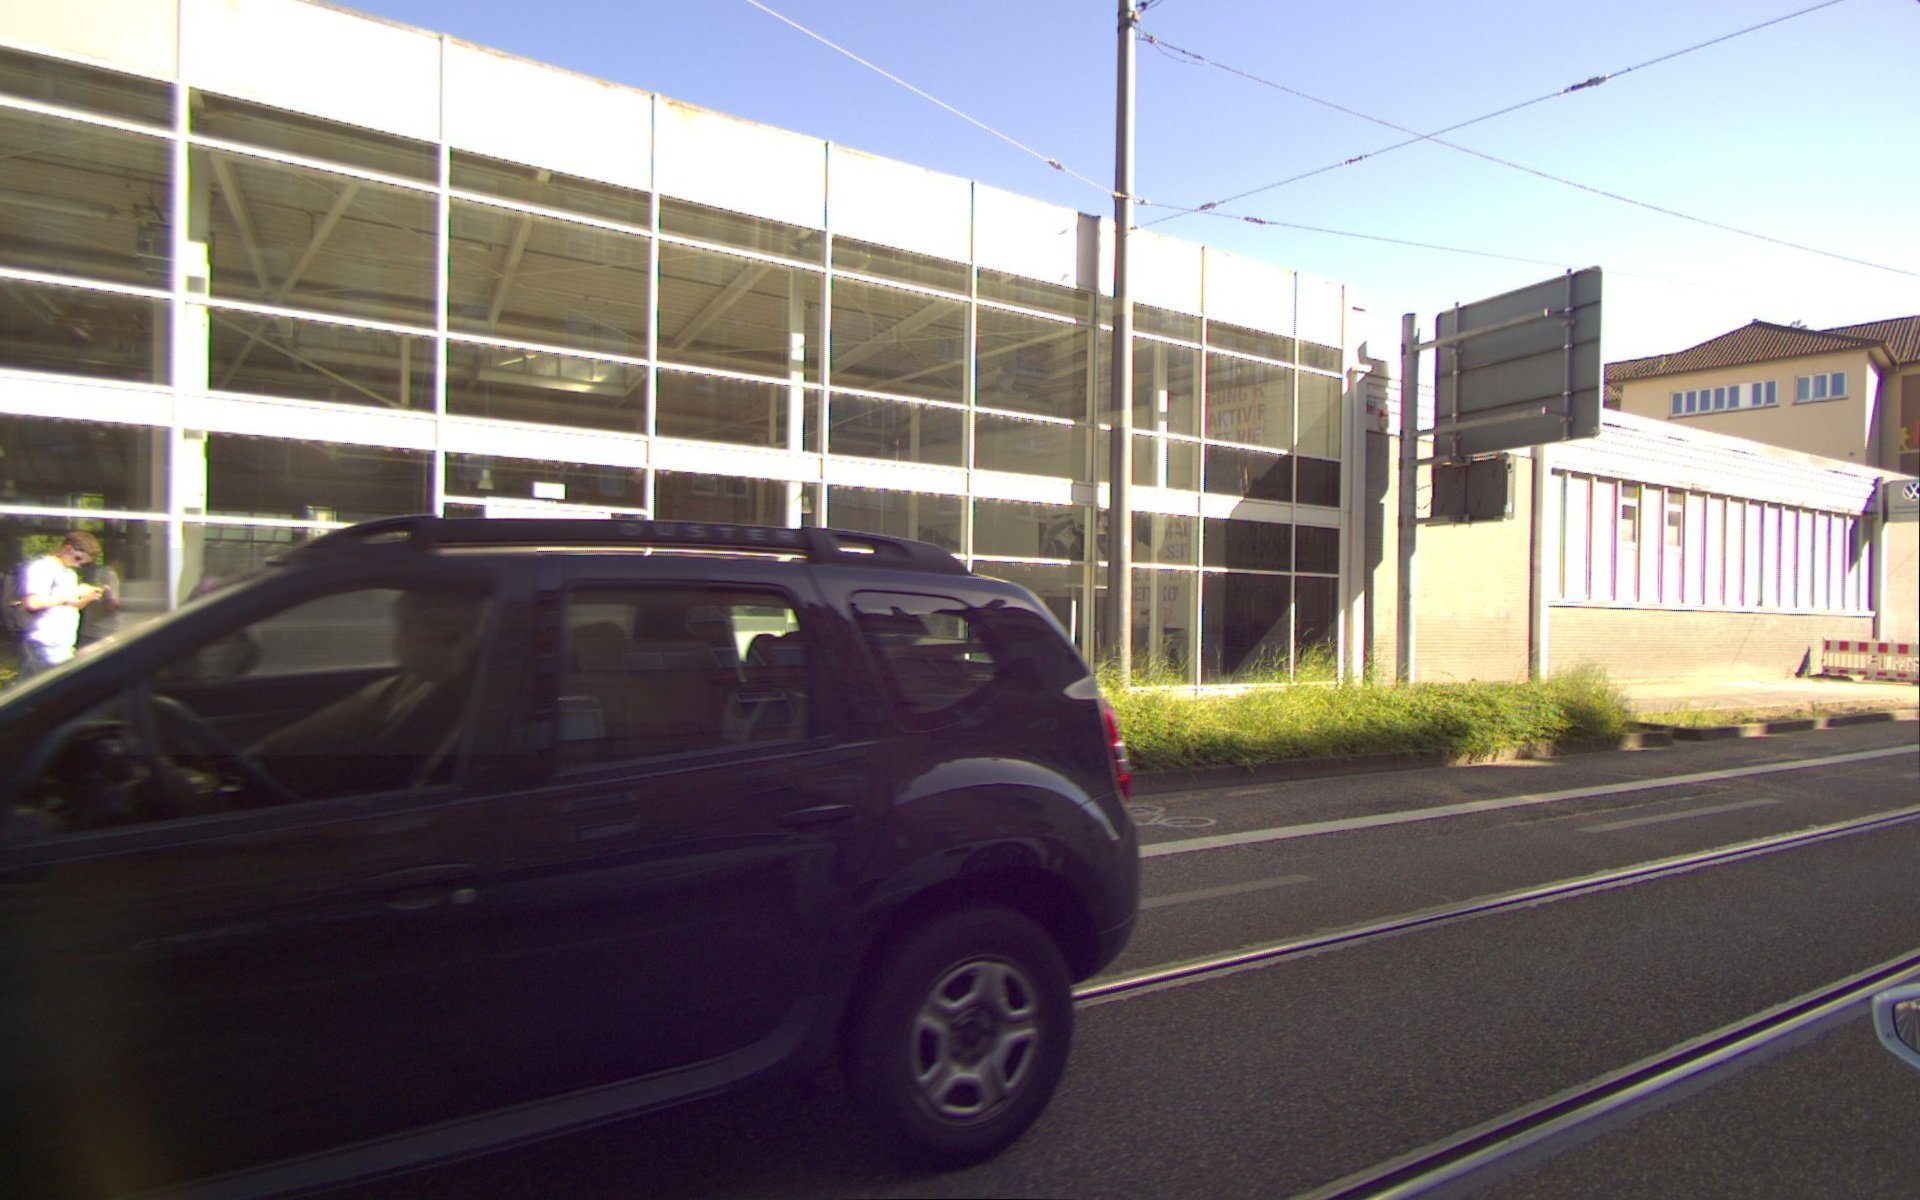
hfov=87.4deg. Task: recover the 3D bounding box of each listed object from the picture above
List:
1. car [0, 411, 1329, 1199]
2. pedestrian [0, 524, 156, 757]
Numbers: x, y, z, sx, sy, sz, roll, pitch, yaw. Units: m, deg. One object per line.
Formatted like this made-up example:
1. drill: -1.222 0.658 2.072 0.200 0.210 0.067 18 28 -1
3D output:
1. car: -1.093 0.565 2.880 4.093 1.719 1.751 2 1 -29
2. pedestrian: -7.198 0.317 8.076 1.039 1.788 0.524 2 1 -30
